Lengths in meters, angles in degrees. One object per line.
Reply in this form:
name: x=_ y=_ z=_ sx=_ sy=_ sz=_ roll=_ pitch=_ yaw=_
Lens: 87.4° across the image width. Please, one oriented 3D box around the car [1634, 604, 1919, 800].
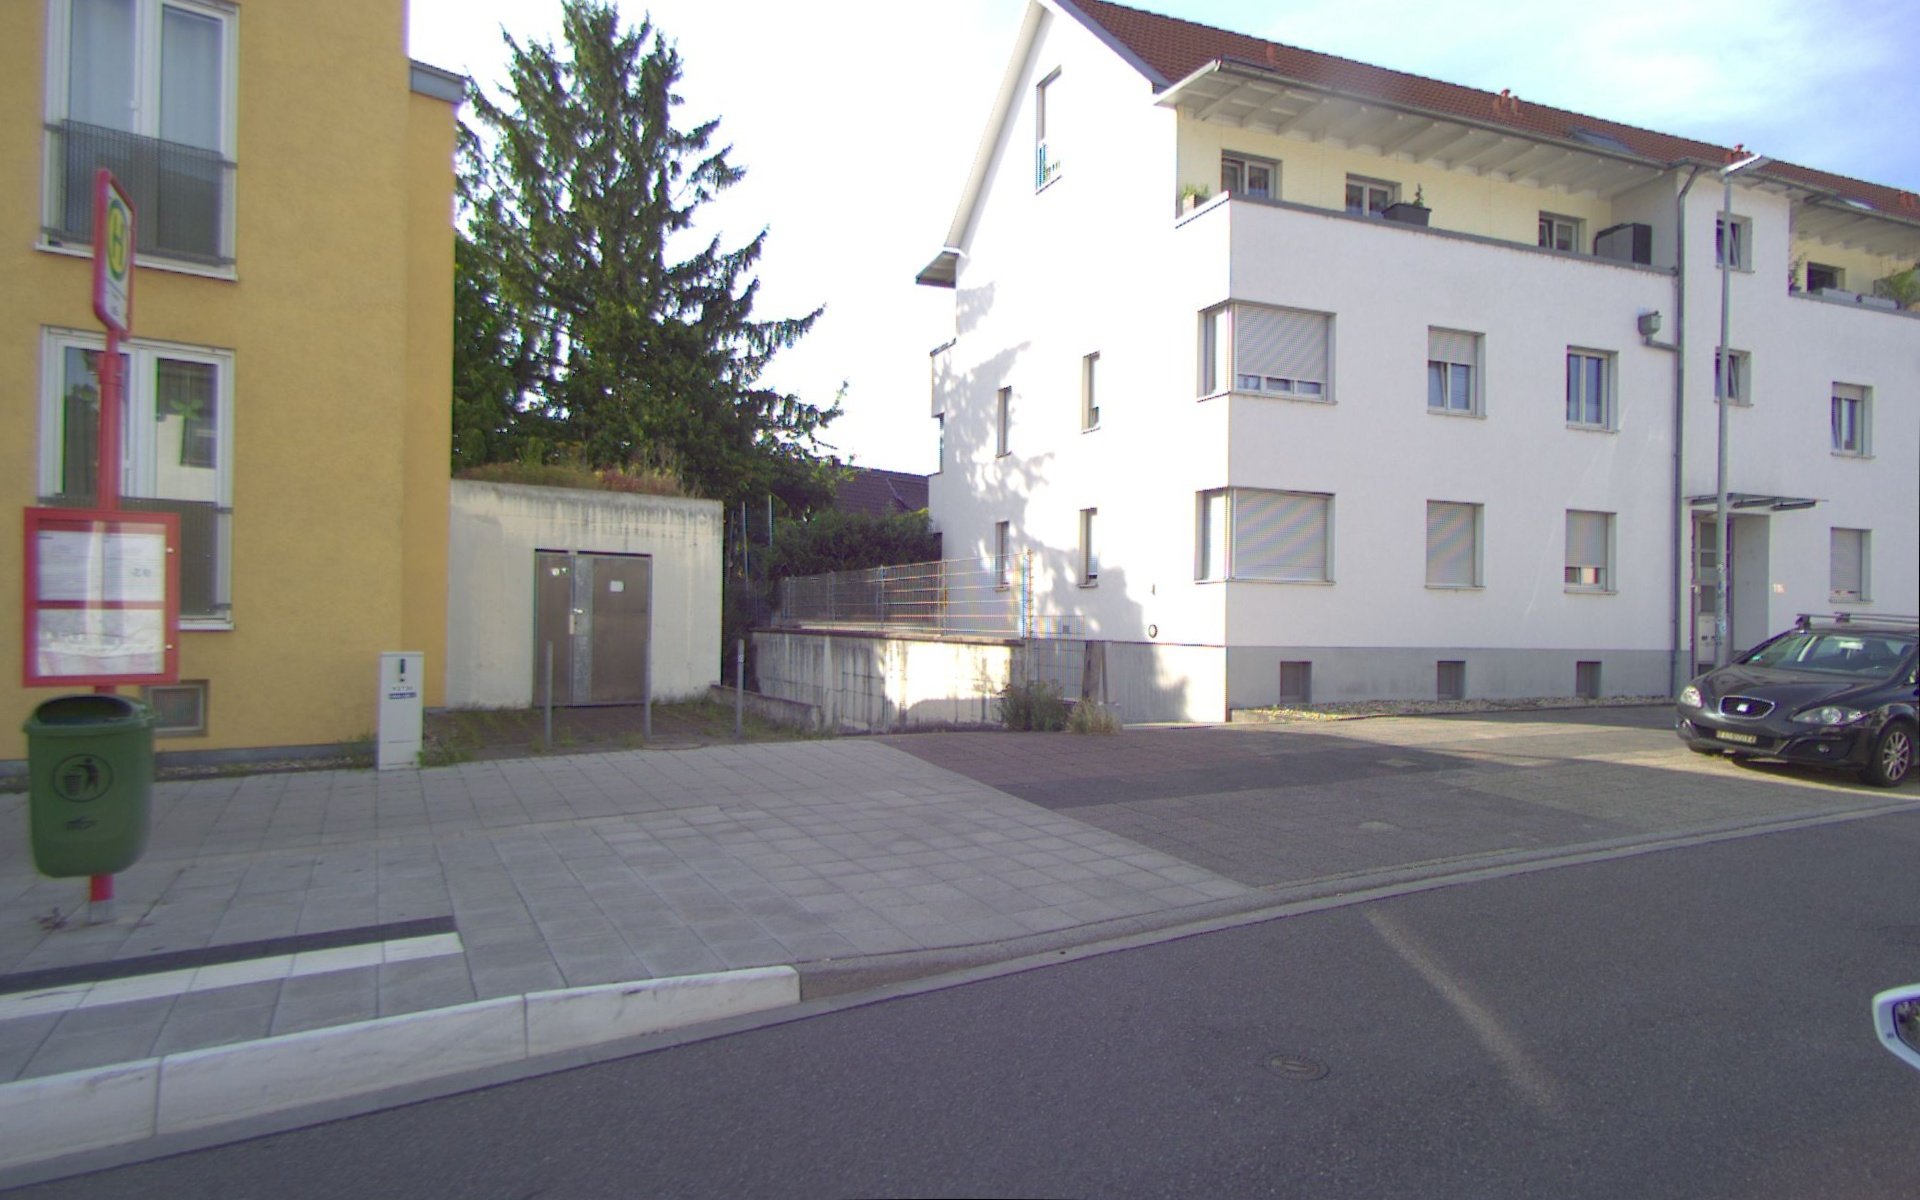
car: x=9.279 y=0.926 z=10.449 sx=4.118 sy=1.644 sz=1.771 roll=1 pitch=2 yaw=-23
